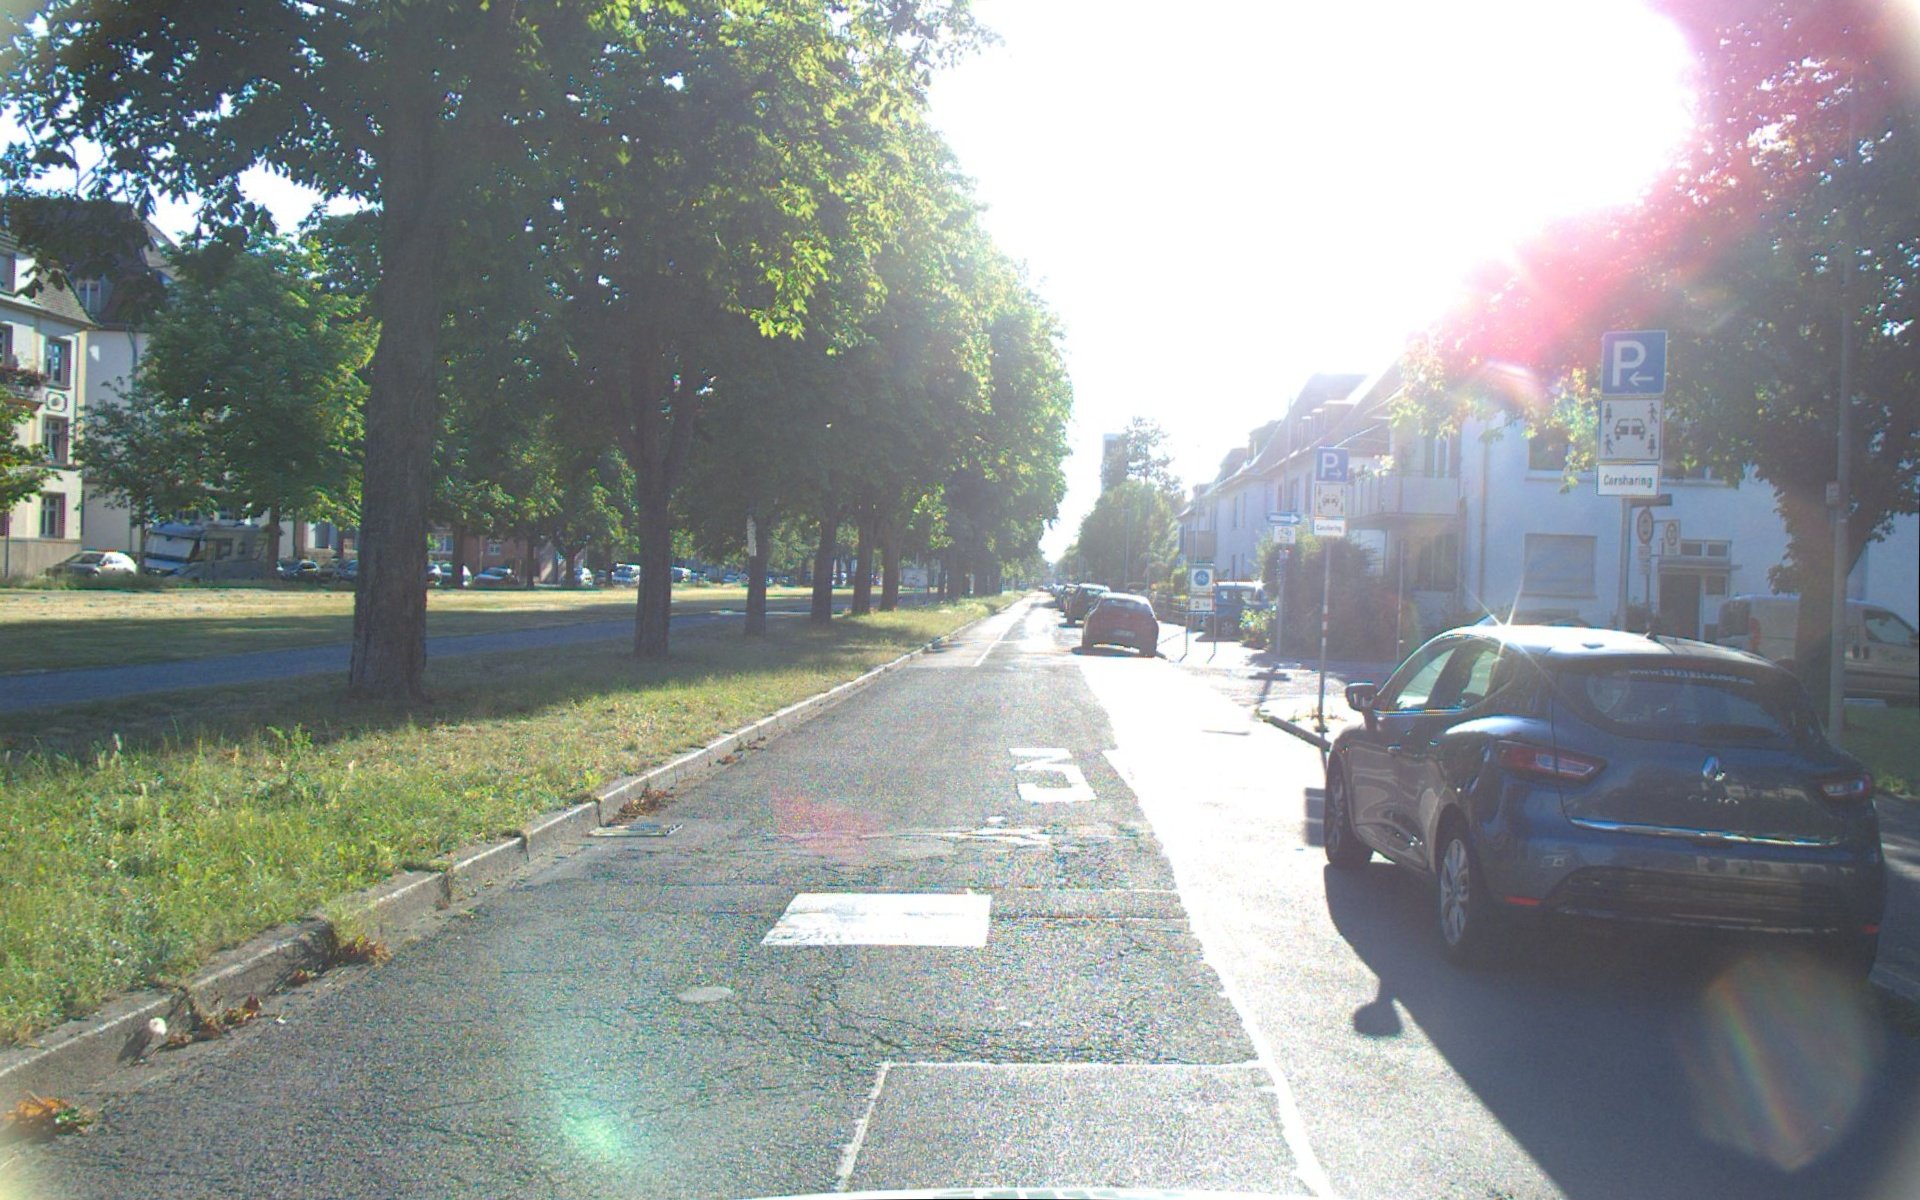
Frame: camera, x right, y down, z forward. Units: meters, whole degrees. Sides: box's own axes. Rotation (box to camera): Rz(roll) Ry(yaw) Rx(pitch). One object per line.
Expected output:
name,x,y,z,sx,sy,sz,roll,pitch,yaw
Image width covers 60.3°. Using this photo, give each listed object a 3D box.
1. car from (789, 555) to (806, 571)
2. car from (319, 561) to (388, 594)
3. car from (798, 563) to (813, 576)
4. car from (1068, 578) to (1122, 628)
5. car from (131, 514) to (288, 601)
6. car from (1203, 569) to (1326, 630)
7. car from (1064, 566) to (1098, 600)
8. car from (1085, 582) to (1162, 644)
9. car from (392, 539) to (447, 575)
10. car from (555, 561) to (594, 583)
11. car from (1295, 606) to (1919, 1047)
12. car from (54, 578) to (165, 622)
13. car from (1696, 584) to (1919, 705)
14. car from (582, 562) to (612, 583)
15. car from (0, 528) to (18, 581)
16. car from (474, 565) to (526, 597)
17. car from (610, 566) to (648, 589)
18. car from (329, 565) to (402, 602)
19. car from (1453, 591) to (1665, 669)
car,-21.681,-4.915,220.696,1.620,1.972,3.568,4,-1,2
car,-34.375,-1.281,93.887,1.952,1.687,4.376,4,0,4
car,-22.151,-4.366,237.141,1.579,1.565,3.356,4,-1,1
car,5.504,0.083,67.809,1.952,1.812,4.002,4,1,2
car,-30.645,-1.725,67.933,2.343,3.184,7.857,4,1,3
car,10.475,-0.001,57.043,3.906,1.854,1.759,1,-5,-1
car,7.767,-1.069,106.378,1.952,2.048,4.001,4,0,2
car,4.114,0.303,42.095,1.674,1.383,4.205,4,0,3
car,-34.143,-2.696,104.640,1.953,2.048,4.001,4,0,1
car,-32.687,-2.355,140.315,1.952,1.687,4.357,4,0,4
car,3.033,0.877,8.603,1.690,1.537,4.542,4,0,2
car,-35.967,0.001,70.082,1.952,1.687,4.573,4,0,4
car,15.312,0.767,28.672,4.153,1.907,2.031,2,0,3
car,-32.455,-2.436,147.887,1.606,1.671,3.855,4,0,1
car,-36.763,-1.679,60.299,1.952,1.983,4.879,1,1,2
car,-28.812,-1.175,103.768,1.774,1.811,4.124,4,0,4
car,-26.858,-1.845,134.369,1.981,1.687,3.986,4,0,3
car,-29.946,-0.822,83.460,1.840,1.703,4.317,4,0,3
car,12.749,0.623,35.365,3.904,1.472,1.717,2,0,2
